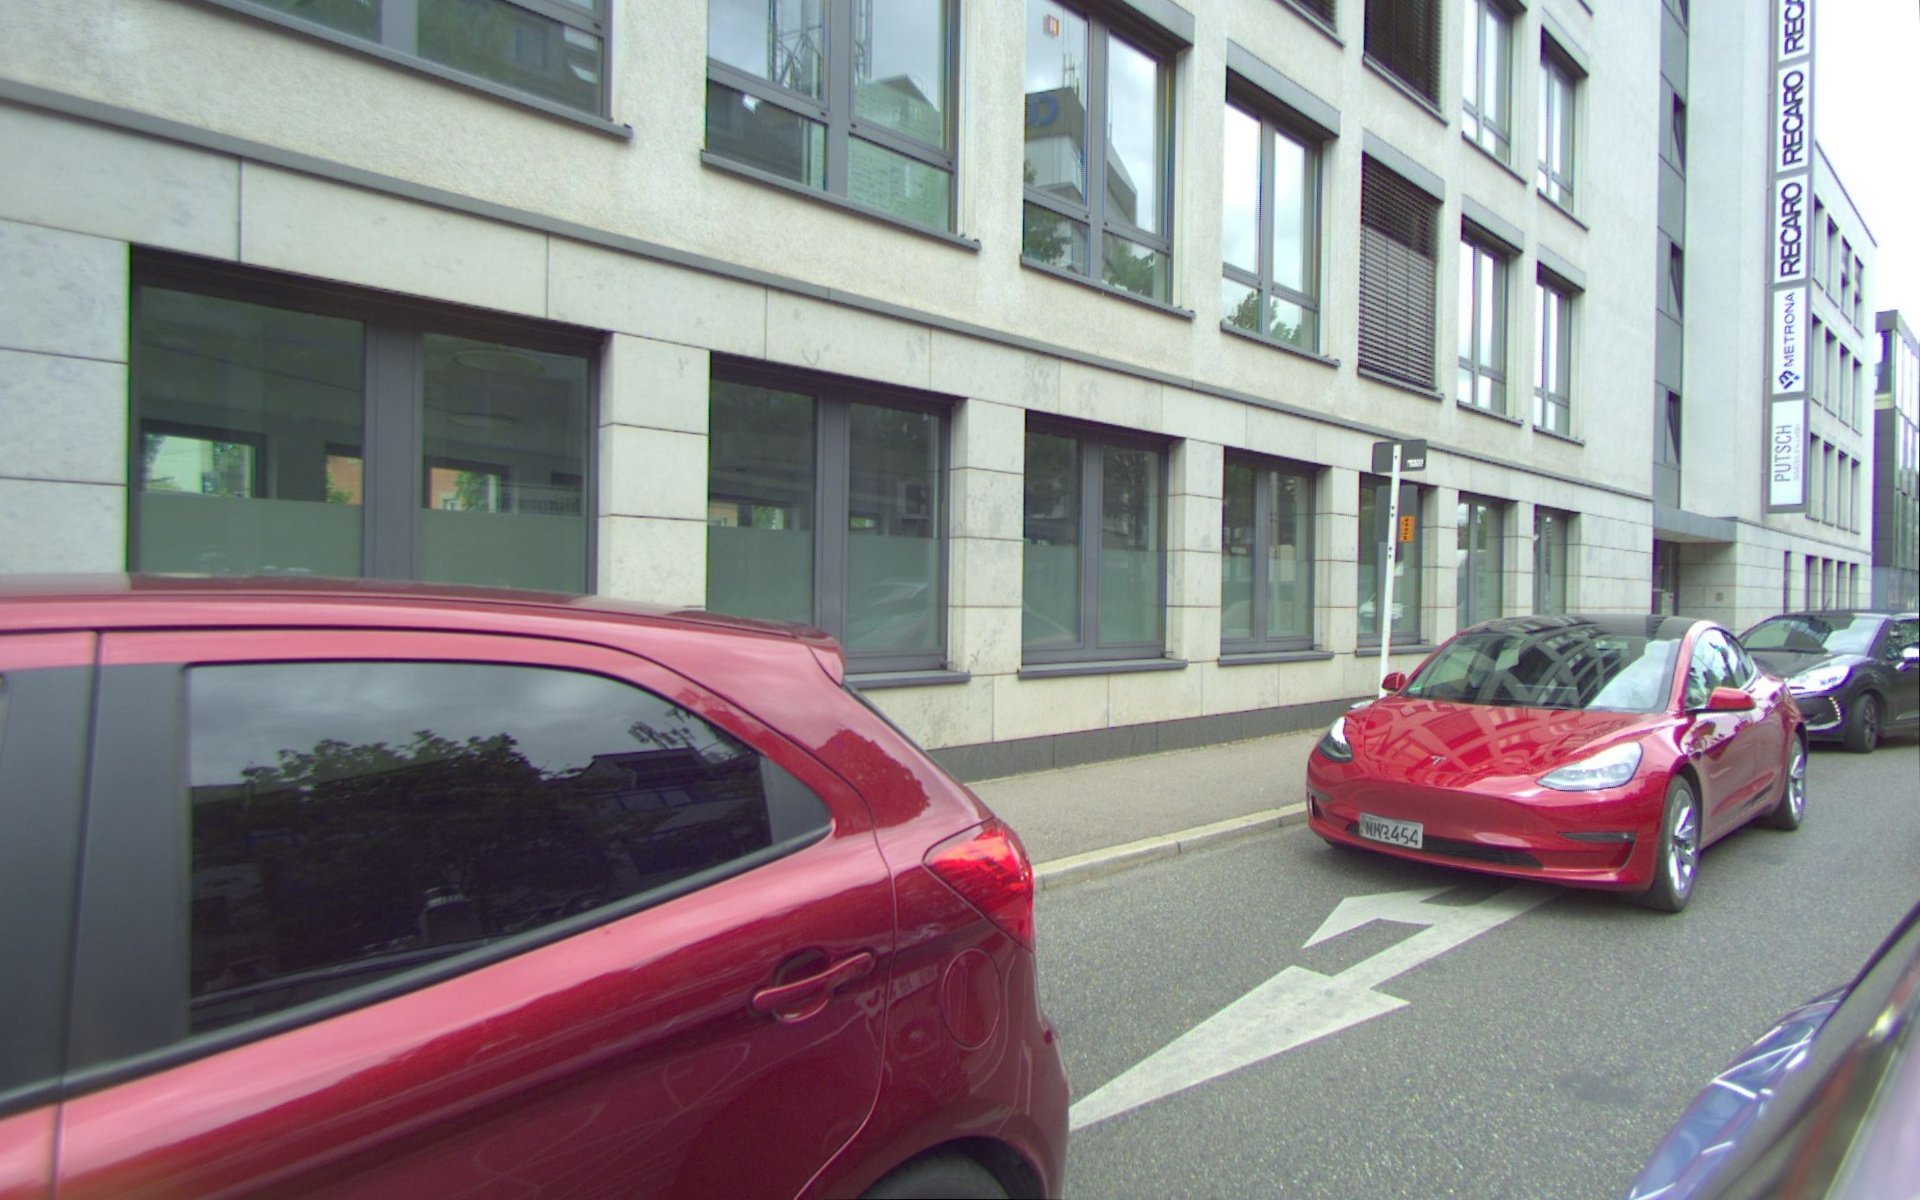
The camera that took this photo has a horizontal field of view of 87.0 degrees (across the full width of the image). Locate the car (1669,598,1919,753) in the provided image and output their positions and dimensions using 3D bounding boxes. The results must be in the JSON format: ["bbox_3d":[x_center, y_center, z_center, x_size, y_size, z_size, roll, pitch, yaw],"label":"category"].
[{"bbox_3d":[9.914,0.730,11.299,3.657,1.476,1.748,0,-1,-27],"label":"car"}]

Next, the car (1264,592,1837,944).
[{"bbox_3d":[3.925,0.721,6.384,4.331,1.476,1.823,0,-1,-41],"label":"car"}]

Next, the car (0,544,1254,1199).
[{"bbox_3d":[-1.488,0.726,1.527,3.930,1.511,1.888,0,-2,-41],"label":"car"}]
